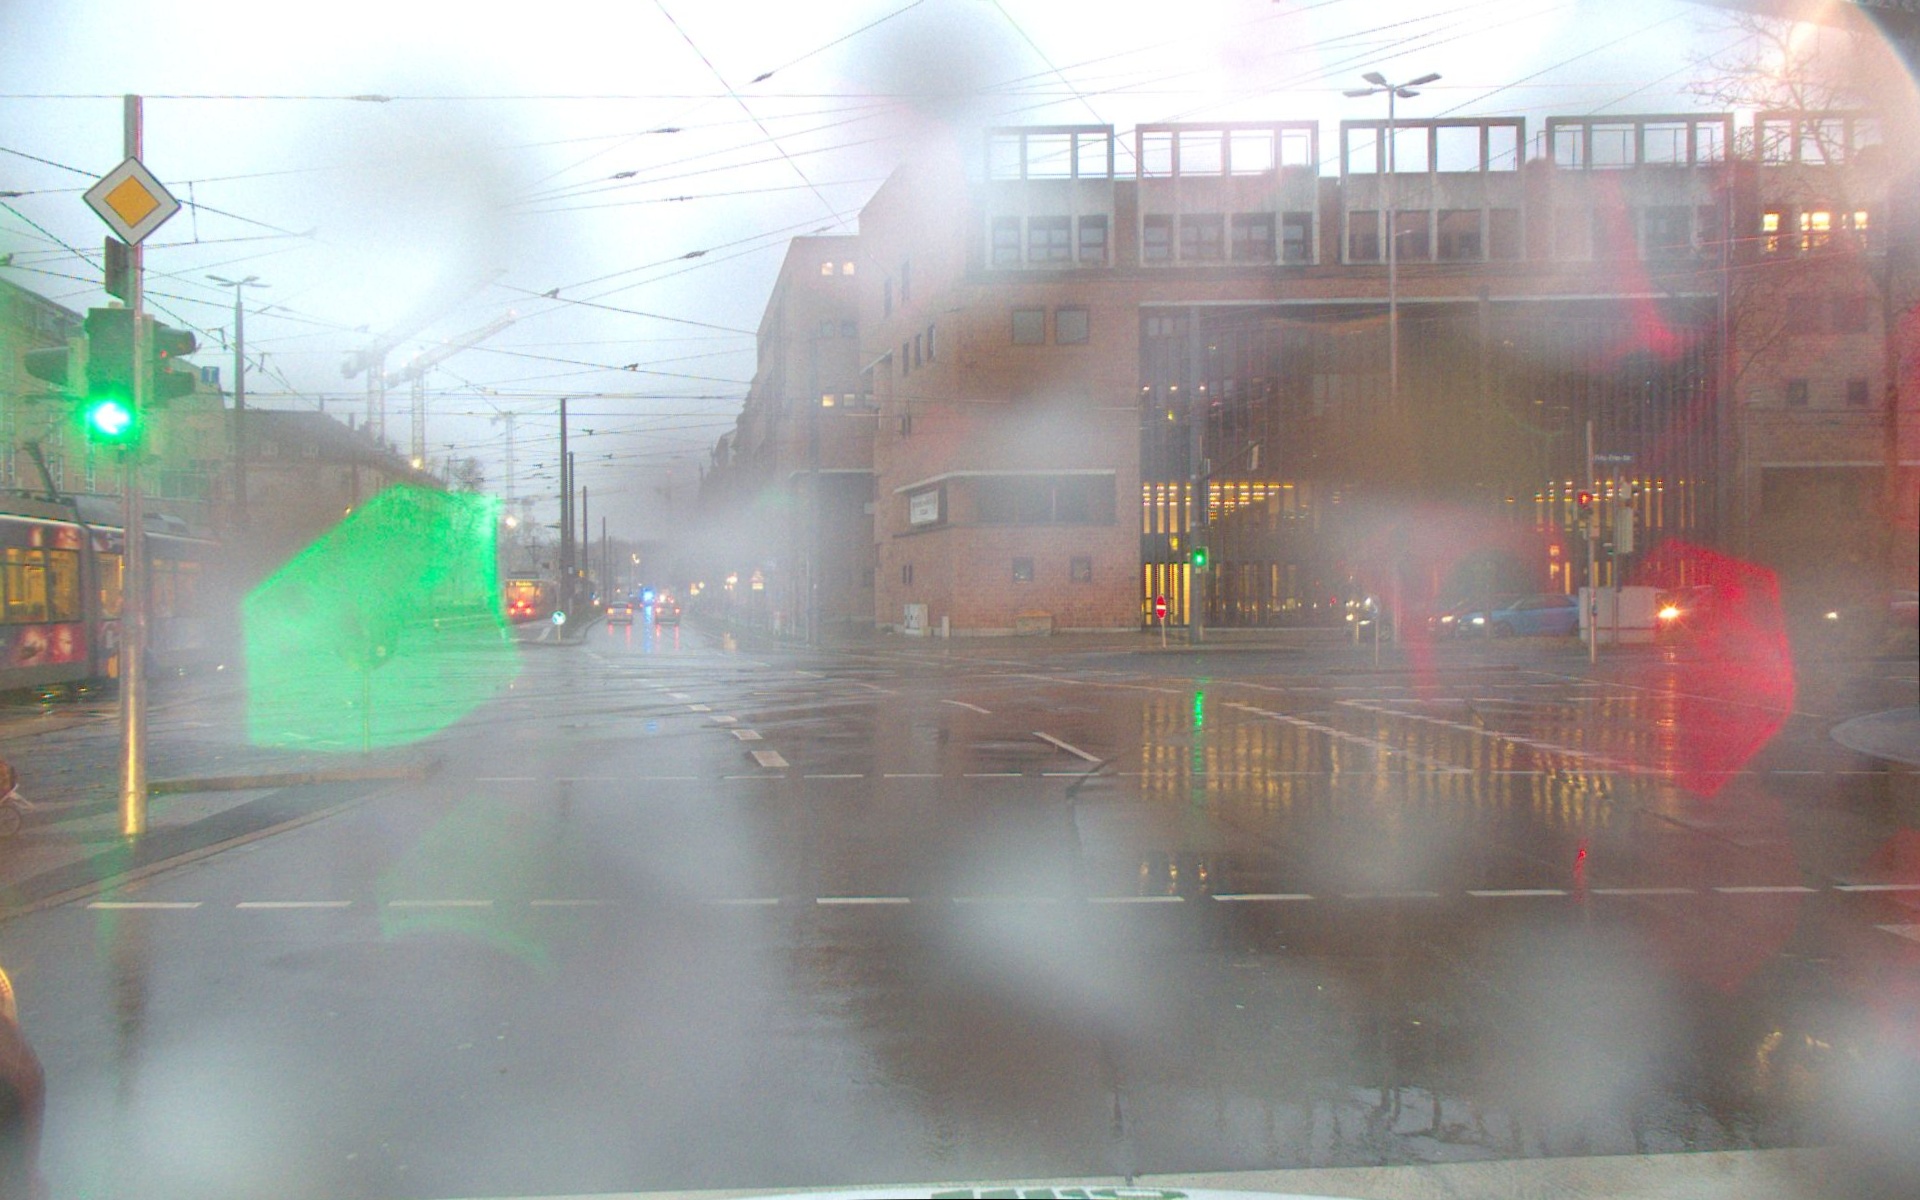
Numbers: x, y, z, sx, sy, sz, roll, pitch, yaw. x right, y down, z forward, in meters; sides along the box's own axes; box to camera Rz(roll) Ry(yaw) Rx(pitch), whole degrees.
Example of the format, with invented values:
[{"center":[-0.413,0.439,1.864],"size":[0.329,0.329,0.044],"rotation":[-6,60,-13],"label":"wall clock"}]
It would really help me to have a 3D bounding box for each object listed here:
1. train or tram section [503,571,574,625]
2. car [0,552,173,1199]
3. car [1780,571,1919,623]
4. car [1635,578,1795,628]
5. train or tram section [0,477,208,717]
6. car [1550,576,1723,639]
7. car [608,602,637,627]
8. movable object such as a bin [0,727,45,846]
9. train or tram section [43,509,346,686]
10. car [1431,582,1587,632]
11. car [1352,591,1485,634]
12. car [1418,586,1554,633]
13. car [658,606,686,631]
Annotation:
[{"center":[-31.148,-0.125,123.282],"size":[3.133,3.496,27.760],"rotation":[-1,0,-10],"label":"train or tram section"},{"center":[-2.544,0.669,1.718],"size":[1.663,1.485,3.757],"rotation":[-1,0,0],"label":"car"},{"center":[29.338,-0.116,54.314],"size":[3.910,1.530,1.846],"rotation":[-1,4,-7],"label":"car"},{"center":[22.353,0.063,49.041],"size":[3.910,1.310,1.846],"rotation":[-1,4,-7],"label":"car"},{"center":[-16.336,-0.025,26.524],"size":[2.812,3.677,20.022],"rotation":[-1,0,-10],"label":"train or tram section"},{"center":[18.235,0.181,44.691],"size":[3.910,1.530,1.846],"rotation":[-1,4,-7],"label":"car"},{"center":[-23.360,0.966,114.519],"size":[1.837,1.606,3.990],"rotation":[2,0,-10],"label":"car"},{"center":[-6.119,1.176,10.385],"size":[0.405,0.711,0.535],"rotation":[-3,-2,40],"label":"movable object such as a bin"},{"center":[-19.570,-0.061,44.191],"size":[2.813,3.677,19.159],"rotation":[-1,0,-11],"label":"train or tram section"},{"center":[15.982,0.182,48.236],"size":[3.910,1.284,1.846],"rotation":[-1,4,-7],"label":"car"},{"center":[15.543,0.418,56.143],"size":[3.909,1.333,1.998],"rotation":[-1,0,-5],"label":"car"},{"center":[16.608,0.287,52.332],"size":[3.649,1.284,1.846],"rotation":[-1,4,-7],"label":"car"},{"center":[-20.516,1.316,117.834],"size":[1.836,1.606,3.993],"rotation":[2,1,-9],"label":"car"}]
